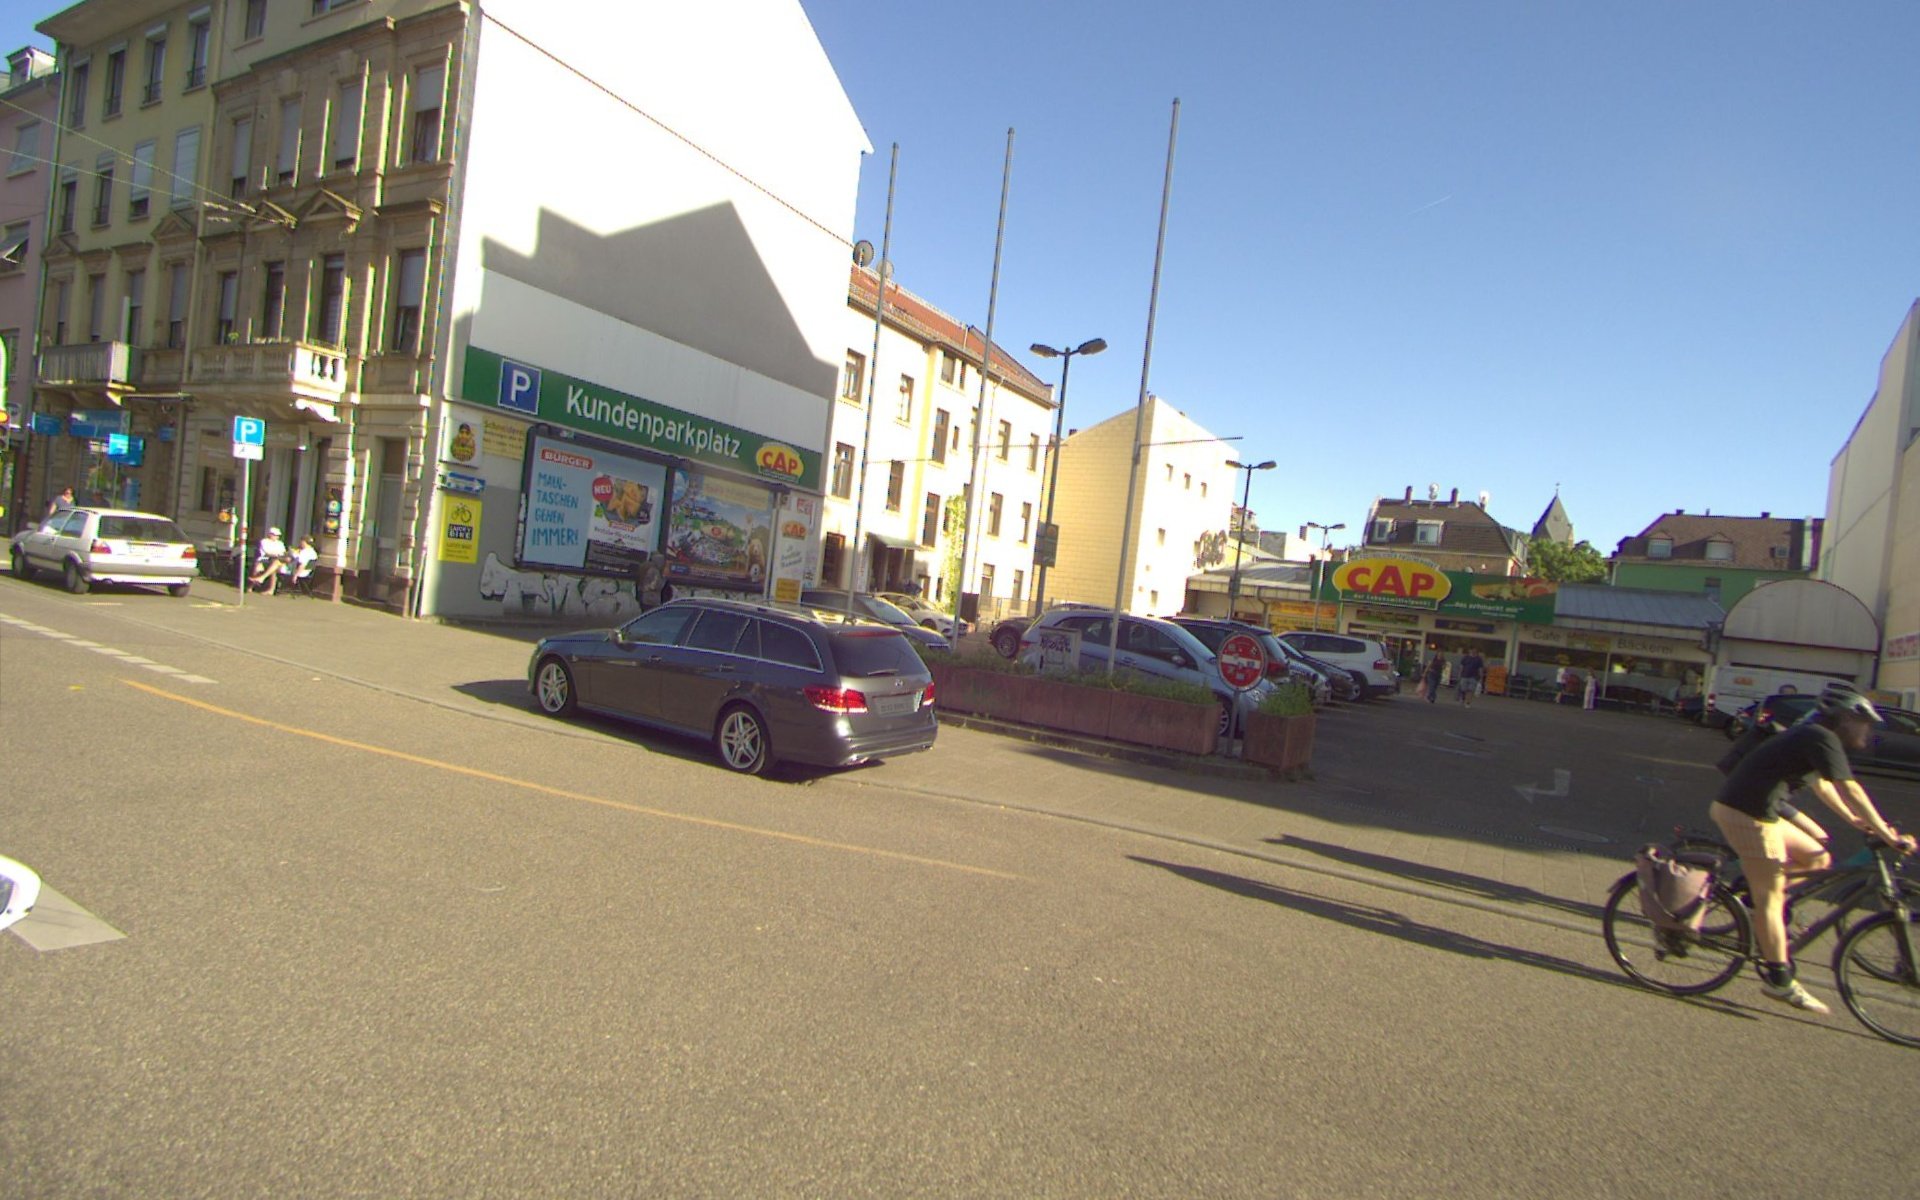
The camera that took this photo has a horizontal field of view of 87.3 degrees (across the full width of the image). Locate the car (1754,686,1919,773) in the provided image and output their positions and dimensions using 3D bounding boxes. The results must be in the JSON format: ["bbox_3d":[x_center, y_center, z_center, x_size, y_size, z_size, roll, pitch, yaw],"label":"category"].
[{"bbox_3d":[22.214,3.211,25.098,3.590,1.690,1.675,6,-1,38],"label":"car"}]

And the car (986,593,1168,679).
[{"bbox_3d":[3.065,0.939,26.702,4.309,1.687,1.756,7,0,31],"label":"car"}]

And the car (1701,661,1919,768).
[{"bbox_3d":[26.067,3.451,31.049,4.816,2.442,1.702,7,1,42],"label":"car"}]

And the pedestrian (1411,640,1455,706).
[{"bbox_3d":[14.037,2.163,29.835,0.908,1.818,0.818,7,1,32],"label":"pedestrian"}]

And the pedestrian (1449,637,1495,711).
[{"bbox_3d":[14.998,2.165,29.454,0.908,2.039,0.818,7,1,32],"label":"pedestrian"}]

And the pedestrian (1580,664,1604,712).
[{"bbox_3d":[28.031,3.904,44.630,0.636,2.039,0.561,7,1,30],"label":"pedestrian"}]

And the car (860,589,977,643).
[{"bbox_3d":[-1.583,0.585,37.570,3.933,1.482,1.756,7,0,31],"label":"car"}]

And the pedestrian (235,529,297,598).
[{"bbox_3d":[-13.710,-0.714,19.877,0.598,1.299,0.797,7,4,29],"label":"pedestrian"}]

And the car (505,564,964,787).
[{"bbox_3d":[-2.466,0.623,10.486,4.656,1.507,1.833,7,3,32],"label":"car"}]

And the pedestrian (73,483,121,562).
[{"bbox_3d":[-21.116,-1.880,24.629,0.522,1.830,0.673,7,2,31],"label":"pedestrian"}]

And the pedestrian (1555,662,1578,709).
[{"bbox_3d":[27.302,3.835,45.280,0.636,2.039,0.561,7,1,31],"label":"pedestrian"}]

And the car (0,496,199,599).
[{"bbox_3d":[-15.302,-0.947,17.819,3.937,1.435,1.562,7,3,31],"label":"car"}]

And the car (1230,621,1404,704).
[{"bbox_3d":[9.238,1.589,26.117,3.871,1.601,1.659,7,0,30],"label":"car"}]

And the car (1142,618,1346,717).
[{"bbox_3d":[6.136,1.418,21.863,3.871,1.564,1.544,7,1,30],"label":"car"}]

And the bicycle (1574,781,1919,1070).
[{"bbox_3d":[4.578,1.744,5.431,1.917,1.116,0.759,7,1,17],"label":"bicycle"}]

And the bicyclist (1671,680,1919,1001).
[{"bbox_3d":[4.615,1.232,5.430,0.933,1.479,0.747,7,-1,17],"label":"bicyclist"}]

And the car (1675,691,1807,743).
[{"bbox_3d":[30.940,4.602,39.961,3.941,1.371,1.751,7,0,39],"label":"car"}]

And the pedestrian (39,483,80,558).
[{"bbox_3d":[-21.651,-1.908,24.189,0.382,1.729,0.550,7,1,34],"label":"pedestrian"}]

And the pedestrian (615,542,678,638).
[{"bbox_3d":[-6.394,-0.194,20.547,0.734,1.864,0.762,7,1,15],"label":"pedestrian"}]

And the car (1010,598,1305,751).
[{"bbox_3d":[2.990,1.067,15.317,3.930,1.665,1.748,7,0,28],"label":"car"}]

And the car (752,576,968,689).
[{"bbox_3d":[-1.772,0.560,17.726,3.336,1.504,1.561,7,0,28],"label":"car"}]

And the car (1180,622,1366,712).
[{"bbox_3d":[7.434,1.563,24.000,3.871,1.564,1.544,7,1,30],"label":"car"}]

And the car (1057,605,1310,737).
[{"bbox_3d":[3.952,1.208,17.900,3.931,1.714,1.748,7,0,29],"label":"car"}]

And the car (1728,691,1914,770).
[{"bbox_3d":[23.103,3.459,27.183,3.590,1.552,1.675,5,-1,38],"label":"car"}]

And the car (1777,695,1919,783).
[{"bbox_3d":[19.600,2.975,21.066,3.586,1.481,1.677,6,-1,33],"label":"car"}]

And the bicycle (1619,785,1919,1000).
[{"bbox_3d":[5.627,1.942,6.776,1.886,0.933,0.648,7,5,33],"label":"bicycle"}]

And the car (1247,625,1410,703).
[{"bbox_3d":[10.103,1.727,27.654,3.871,1.564,1.544,7,1,30],"label":"car"}]

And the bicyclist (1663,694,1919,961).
[{"bbox_3d":[5.611,1.477,6.843,1.162,1.466,0.676,7,4,32],"label":"bicyclist"}]

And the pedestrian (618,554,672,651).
[{"bbox_3d":[-6.061,0.055,19.384,0.503,1.777,0.763,7,1,11],"label":"pedestrian"}]

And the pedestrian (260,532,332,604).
[{"bbox_3d":[-13.037,-0.623,19.758,0.644,1.298,0.902,7,2,26],"label":"pedestrian"}]
